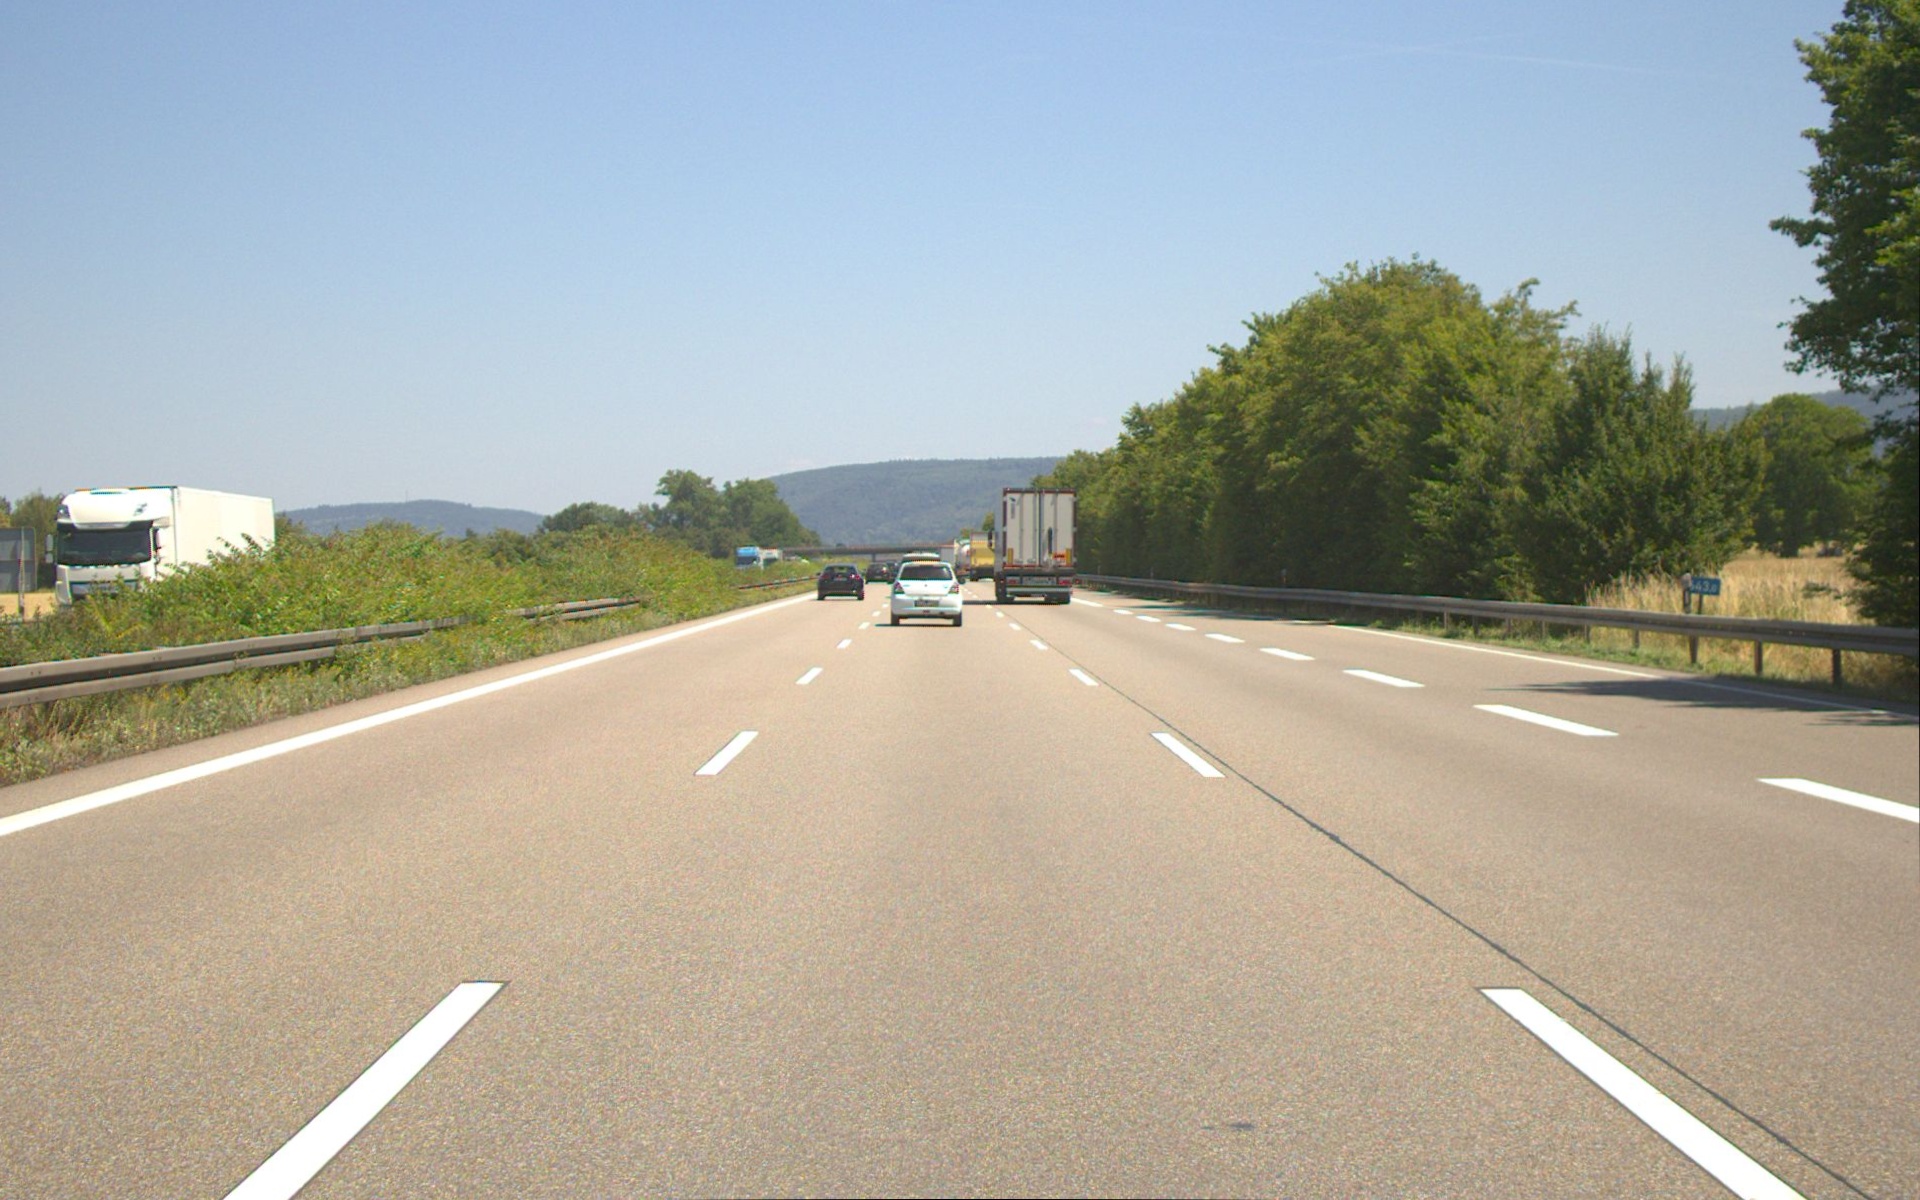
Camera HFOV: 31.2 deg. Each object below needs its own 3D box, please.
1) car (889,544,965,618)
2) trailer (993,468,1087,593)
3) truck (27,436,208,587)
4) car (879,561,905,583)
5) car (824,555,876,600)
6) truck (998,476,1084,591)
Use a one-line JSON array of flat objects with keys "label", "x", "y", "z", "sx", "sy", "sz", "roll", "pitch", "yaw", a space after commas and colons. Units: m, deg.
[{"label": "car", "x": -0.808, "y": -0.478, "z": 81.597, "sx": 1.732, "sy": 1.678, "sz": 4.000, "roll": -1, "pitch": 1, "yaw": -1}, {"label": "trailer", "x": 2.976, "y": -2.501, "z": 126.781, "sx": 3.218, "sy": 4.330, "sz": 13.628, "roll": 1, "pitch": 1, "yaw": 2}, {"label": "truck", "x": -21.456, "y": -2.213, "z": 87.840, "sx": 3.179, "sy": 3.686, "sz": 6.036, "roll": 1, "pitch": 1, "yaw": -1}, {"label": "car", "x": -4.695, "y": -1.940, "z": 238.728, "sx": 1.795, "sy": 1.545, "sz": 4.000, "roll": 0, "pitch": 0, "yaw": -1}, {"label": "car", "x": -4.310, "y": -0.900, "z": 134.868, "sx": 1.993, "sy": 1.706, "sz": 4.000, "roll": 1, "pitch": 1, "yaw": -1}, {"label": "truck", "x": 3.166, "y": -2.584, "z": 134.259, "sx": 3.218, "sy": 4.330, "sz": 6.590, "roll": 1, "pitch": 1, "yaw": 2}]
